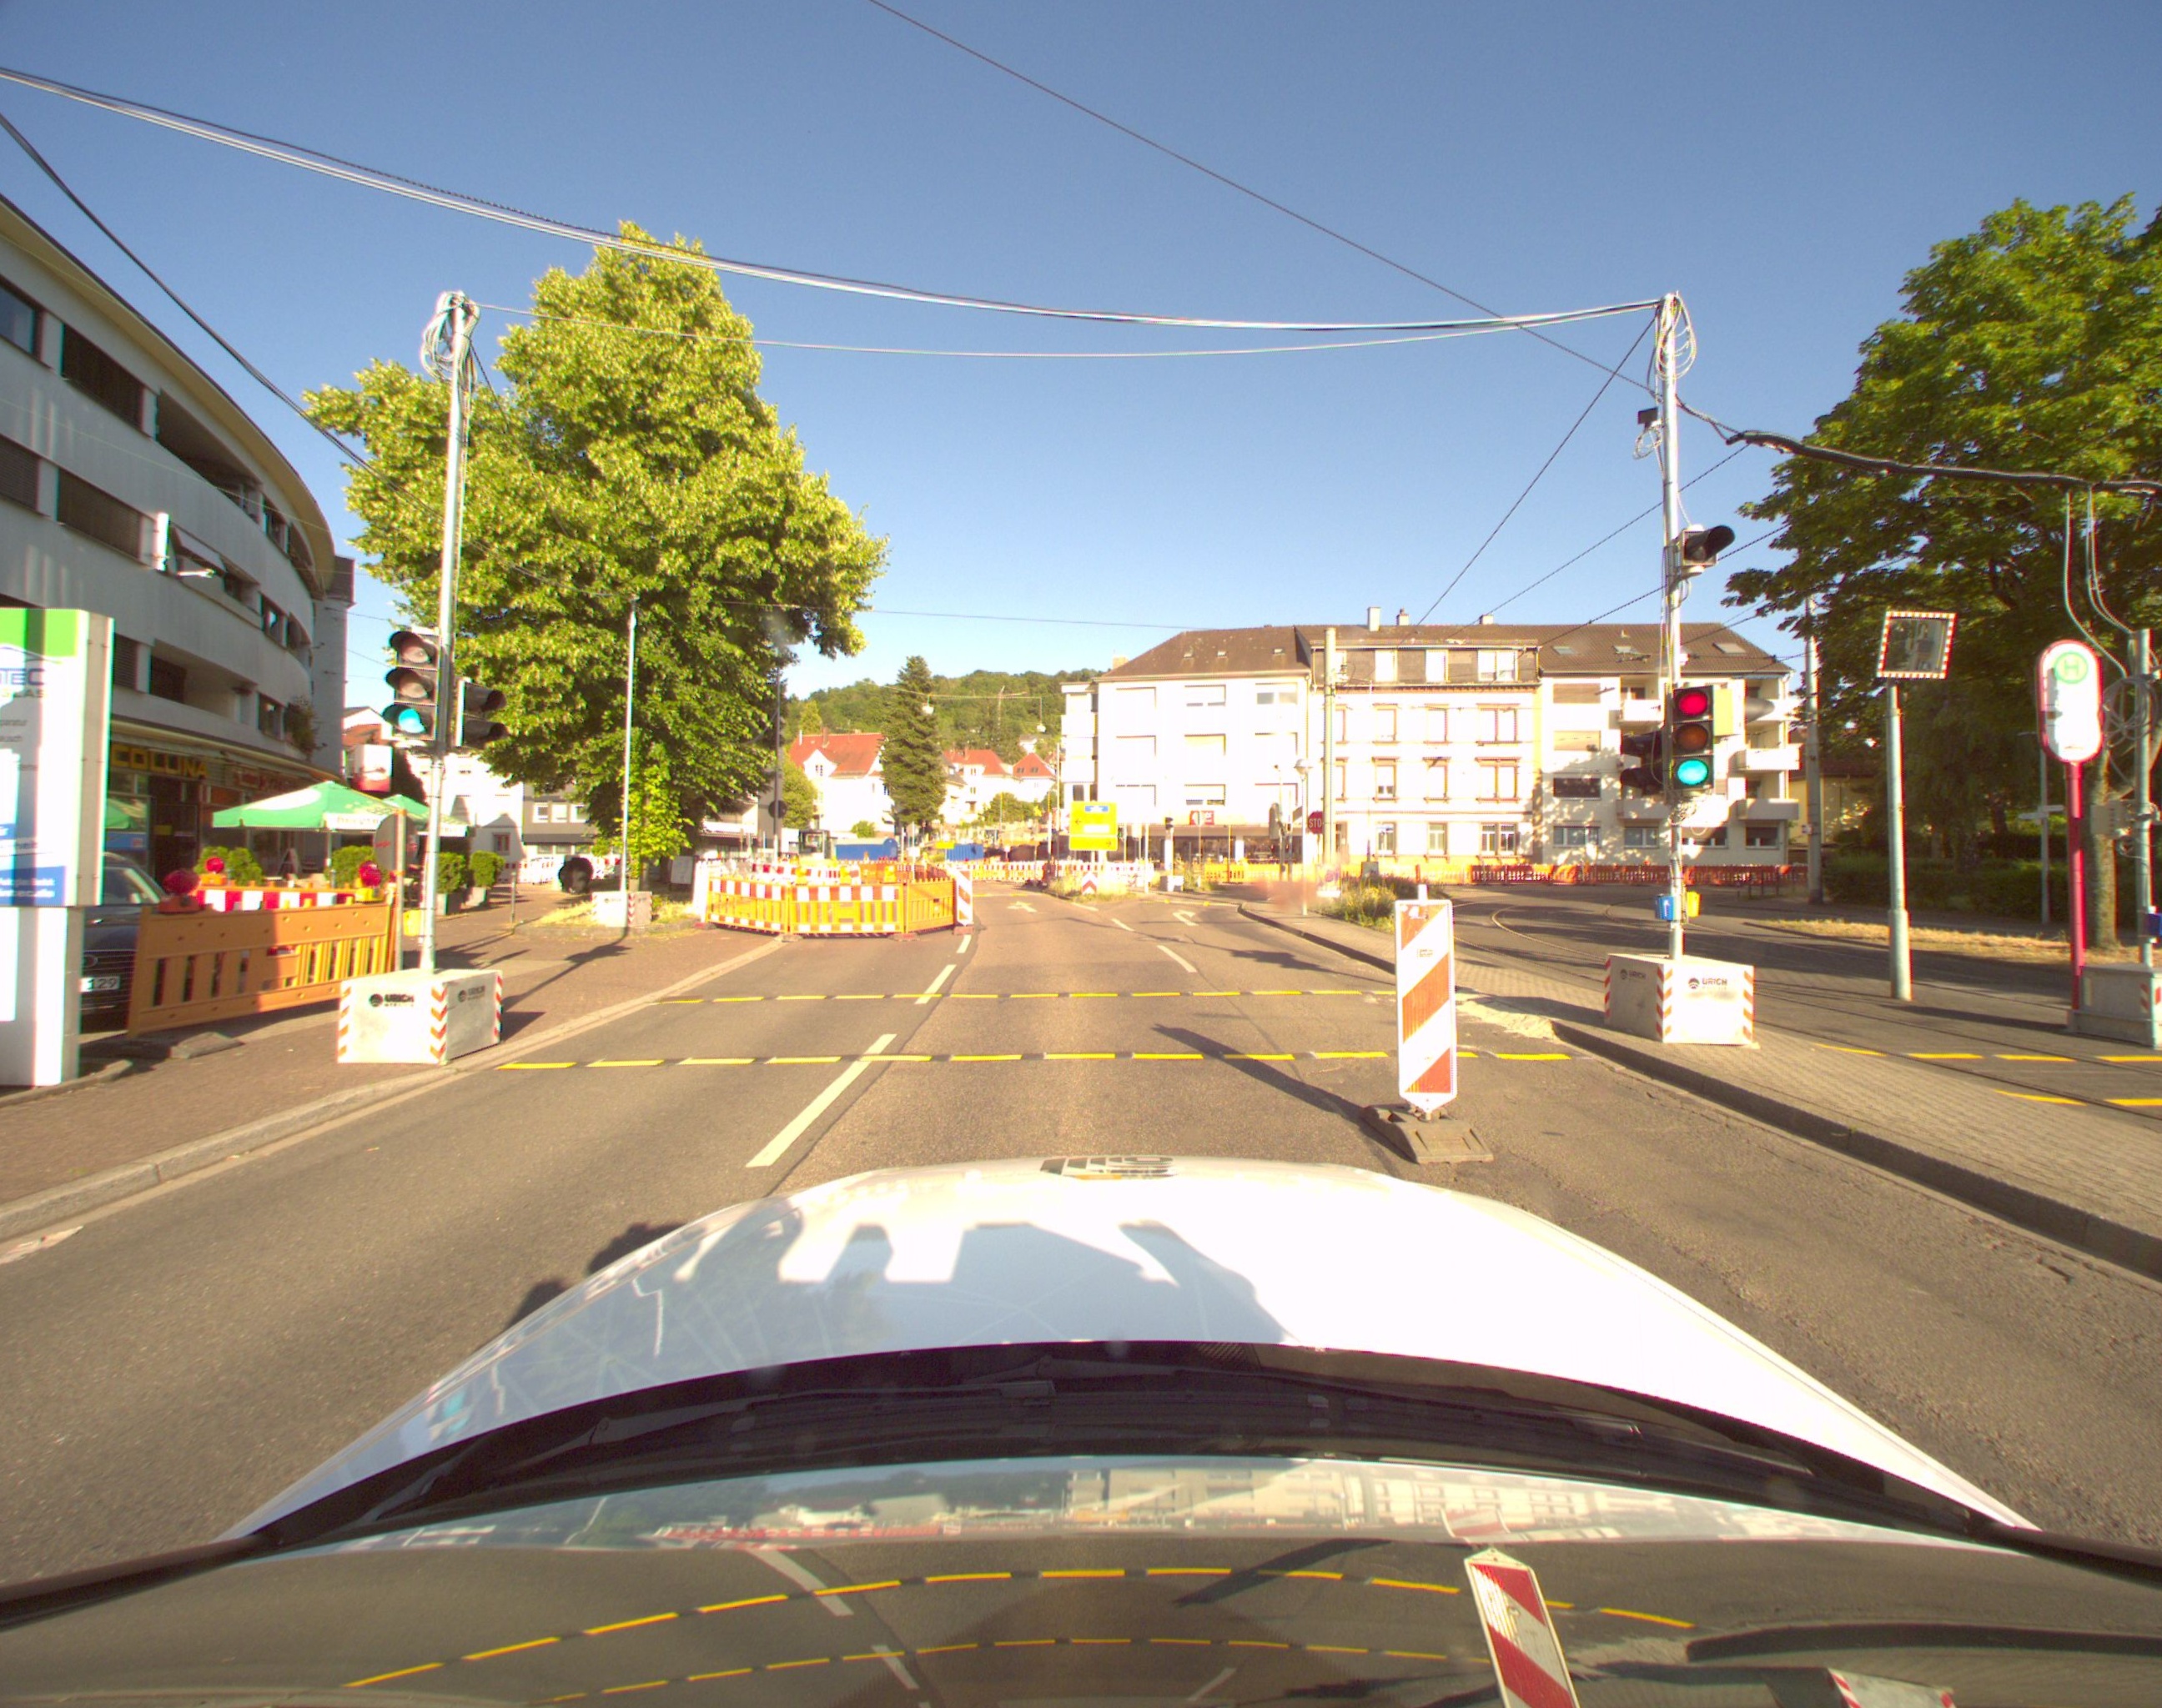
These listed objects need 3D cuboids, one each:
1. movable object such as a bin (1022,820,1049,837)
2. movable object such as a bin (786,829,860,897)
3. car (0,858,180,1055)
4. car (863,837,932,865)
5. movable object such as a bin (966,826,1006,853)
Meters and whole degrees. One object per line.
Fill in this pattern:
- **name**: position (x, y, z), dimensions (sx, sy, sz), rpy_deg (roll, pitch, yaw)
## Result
- **movable object such as a bin**: position (-6.410, -3.572, 115.308), dimensions (2.549, 2.122, 5.801), rpy_deg (-1, -1, 11)
- **movable object such as a bin**: position (-9.381, 0.308, 29.891), dimensions (1.643, 2.324, 3.916), rpy_deg (0, 0, -3)
- **car**: position (-9.318, 0.783, 7.324), dimensions (3.835, 1.438, 1.606), rpy_deg (-1, 0, 42)
- **car**: position (-14.954, -0.213, 66.728), dimensions (2.562, 2.121, 6.181), rpy_deg (-1, -1, 20)
- **movable object such as a bin**: position (-9.235, -1.332, 79.408), dimensions (1.932, 2.494, 4.574), rpy_deg (-1, -1, 20)
